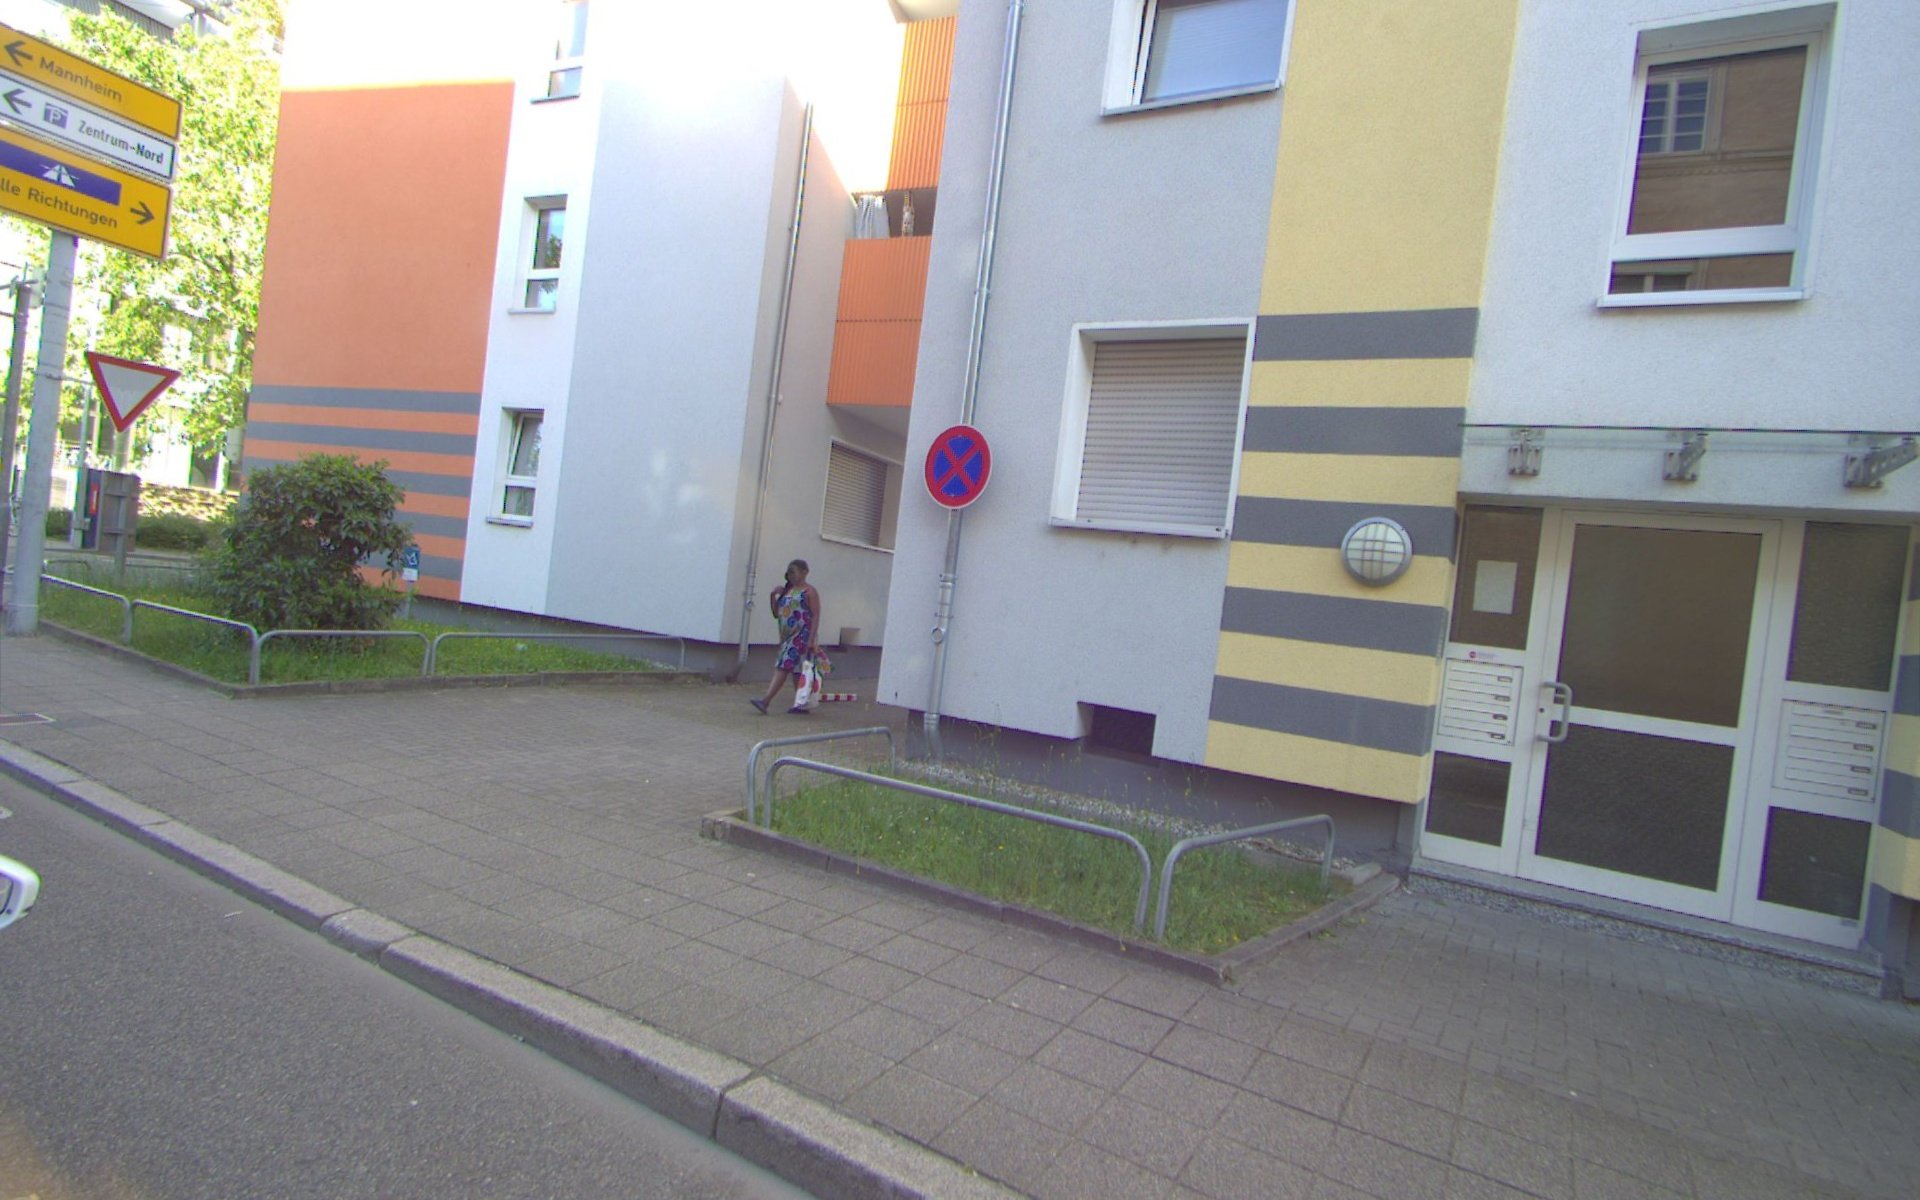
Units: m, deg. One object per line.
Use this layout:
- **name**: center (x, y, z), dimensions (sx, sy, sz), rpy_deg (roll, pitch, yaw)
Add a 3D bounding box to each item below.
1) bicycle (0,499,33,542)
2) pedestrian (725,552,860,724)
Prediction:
- **bicycle**: center (-26.431, -2.248, 27.277), dimensions (1.883, 1.062, 0.463), rpy_deg (7, 1, -10)
- **pedestrian**: center (-1.701, 0.379, 10.213), dimensions (0.943, 1.593, 0.747), rpy_deg (8, 2, 38)
